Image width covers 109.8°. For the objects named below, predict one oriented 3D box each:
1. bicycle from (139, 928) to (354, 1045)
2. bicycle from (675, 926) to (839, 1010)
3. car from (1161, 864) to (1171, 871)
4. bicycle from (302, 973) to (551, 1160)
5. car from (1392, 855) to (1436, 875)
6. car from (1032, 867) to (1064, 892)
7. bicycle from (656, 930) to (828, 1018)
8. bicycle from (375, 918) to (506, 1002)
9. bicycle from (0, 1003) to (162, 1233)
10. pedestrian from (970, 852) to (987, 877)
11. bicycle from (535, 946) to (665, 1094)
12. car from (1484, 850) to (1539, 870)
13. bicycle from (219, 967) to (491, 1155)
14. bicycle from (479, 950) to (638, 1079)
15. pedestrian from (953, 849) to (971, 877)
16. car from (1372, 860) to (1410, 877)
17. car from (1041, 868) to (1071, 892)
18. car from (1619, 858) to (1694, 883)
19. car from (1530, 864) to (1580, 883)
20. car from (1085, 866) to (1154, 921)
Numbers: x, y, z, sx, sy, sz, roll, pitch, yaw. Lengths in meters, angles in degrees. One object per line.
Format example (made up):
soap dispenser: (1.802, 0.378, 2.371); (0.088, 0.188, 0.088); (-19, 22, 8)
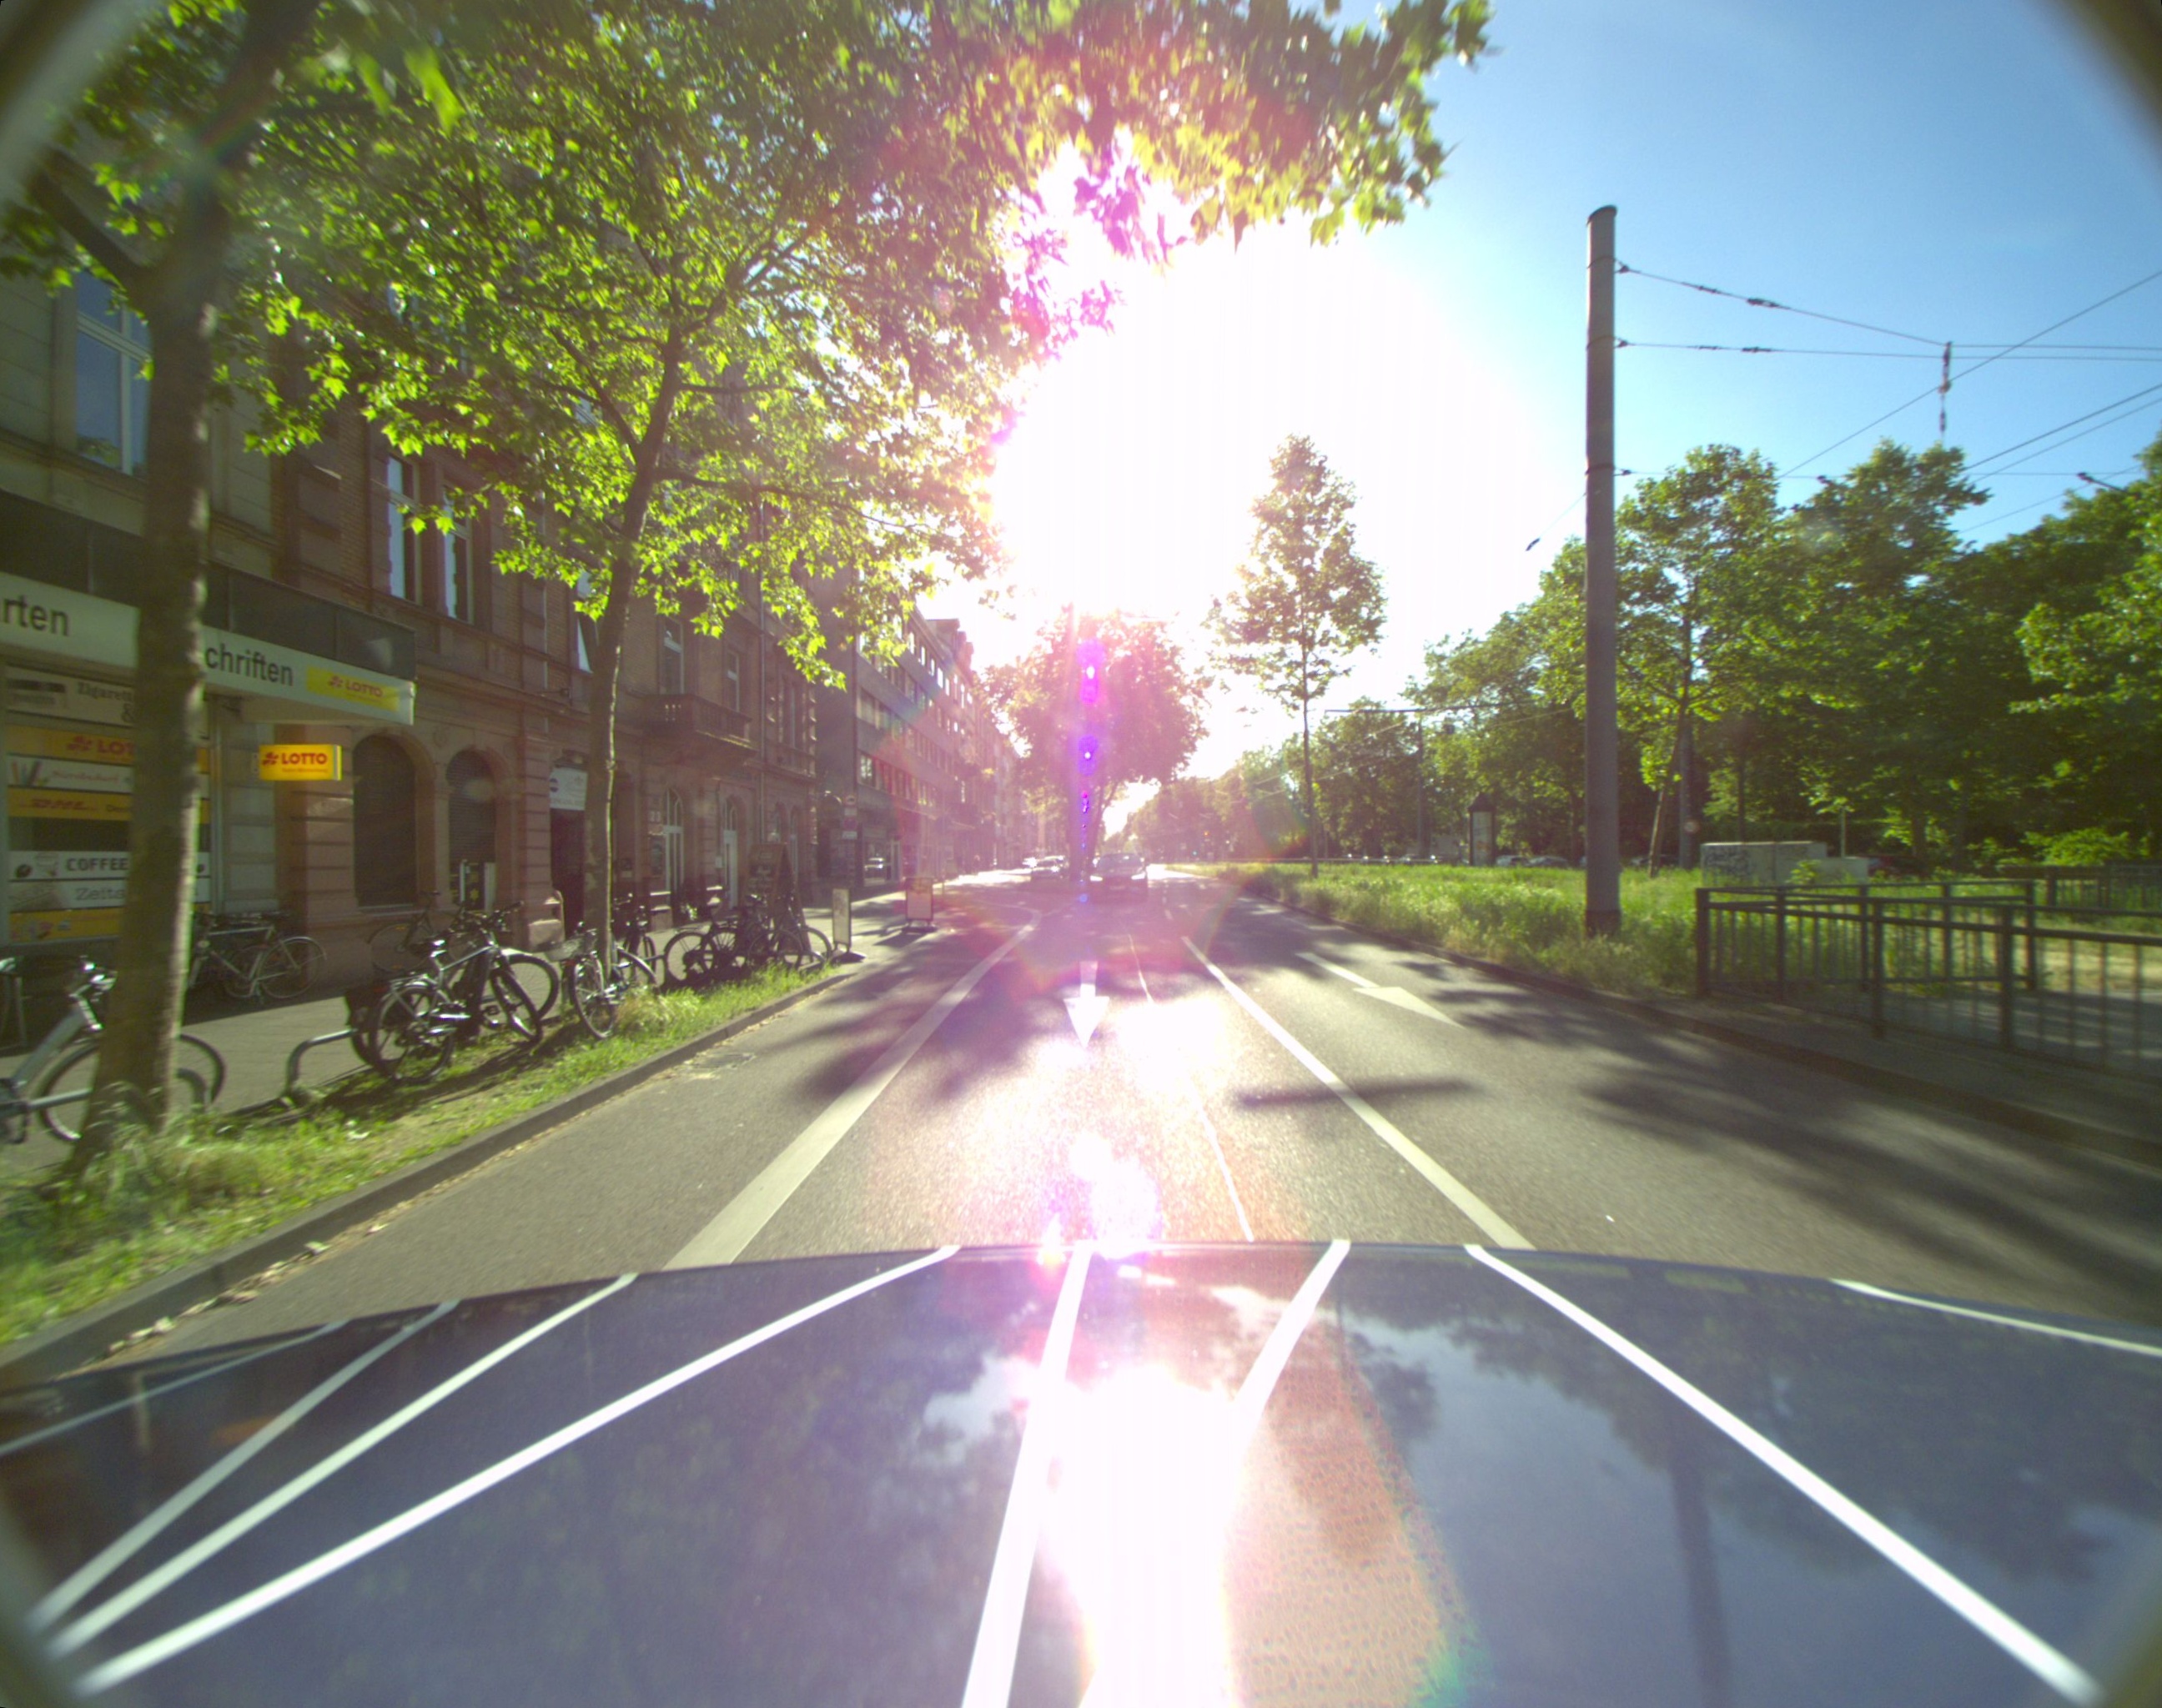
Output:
bicycle: (-8.958, 1.372, 8.263); (0.444, 0.987, 1.689); (-3, -1, 0)
bicycle: (-4.429, 1.549, 10.435); (2.009, 0.987, 0.444); (-3, 0, -2)
car: (19.417, 3.038, 173.396); (1.850, 1.521, 3.874); (-3, -1, -2)
bicycle: (-4.935, 1.543, 5.892); (0.444, 0.987, 1.689); (-3, -1, 0)
car: (31.247, 1.054, 71.435); (1.999, 1.673, 4.514); (-3, -1, -2)
car: (-2.005, 1.556, 47.371); (1.705, 1.415, 4.517); (-3, -1, 0)
bicycle: (-4.434, 1.567, 9.998); (2.019, 0.987, 0.444); (-3, 0, -2)
bicycle: (-9.201, 1.493, 11.000); (0.444, 0.987, 1.689); (-3, -1, 0)
bicycle: (-5.435, 1.333, 3.452); (0.444, 0.987, 1.689); (-3, -1, 0)
pedestrian: (-7.379, 0.741, 54.686); (1.002, 1.750, 0.715); (-3, 0, 1)
bicycle: (-4.288, 1.424, 6.895); (0.444, 0.987, 1.687); (-3, -1, -14)
car: (30.685, 0.427, 54.312); (1.773, 1.304, 3.781); (-3, -1, 0)
bicycle: (-5.435, 1.490, 5.848); (0.444, 0.987, 1.689); (-3, -1, 0)
bicycle: (-5.326, 1.590, 7.871); (0.444, 0.987, 1.689); (-3, -1, 0)
pedestrian: (-7.920, 0.610, 50.661); (1.002, 1.829, 0.715); (-1, 0, 2)
car: (31.339, 1.488, 76.945); (1.999, 1.612, 4.000); (-3, -1, -2)
car: (-1.748, 1.835, 54.638); (1.810, 1.481, 4.920); (-3, 0, 2)
car: (30.620, 0.852, 40.552); (1.410, 1.221, 3.359); (-1, 0, -1)
car: (30.517, 1.240, 48.994); (1.404, 1.193, 2.845); (-1, 0, -1)
car: (1.250, 1.281, 26.208); (1.969, 1.663, 4.000); (-3, -1, -2)
